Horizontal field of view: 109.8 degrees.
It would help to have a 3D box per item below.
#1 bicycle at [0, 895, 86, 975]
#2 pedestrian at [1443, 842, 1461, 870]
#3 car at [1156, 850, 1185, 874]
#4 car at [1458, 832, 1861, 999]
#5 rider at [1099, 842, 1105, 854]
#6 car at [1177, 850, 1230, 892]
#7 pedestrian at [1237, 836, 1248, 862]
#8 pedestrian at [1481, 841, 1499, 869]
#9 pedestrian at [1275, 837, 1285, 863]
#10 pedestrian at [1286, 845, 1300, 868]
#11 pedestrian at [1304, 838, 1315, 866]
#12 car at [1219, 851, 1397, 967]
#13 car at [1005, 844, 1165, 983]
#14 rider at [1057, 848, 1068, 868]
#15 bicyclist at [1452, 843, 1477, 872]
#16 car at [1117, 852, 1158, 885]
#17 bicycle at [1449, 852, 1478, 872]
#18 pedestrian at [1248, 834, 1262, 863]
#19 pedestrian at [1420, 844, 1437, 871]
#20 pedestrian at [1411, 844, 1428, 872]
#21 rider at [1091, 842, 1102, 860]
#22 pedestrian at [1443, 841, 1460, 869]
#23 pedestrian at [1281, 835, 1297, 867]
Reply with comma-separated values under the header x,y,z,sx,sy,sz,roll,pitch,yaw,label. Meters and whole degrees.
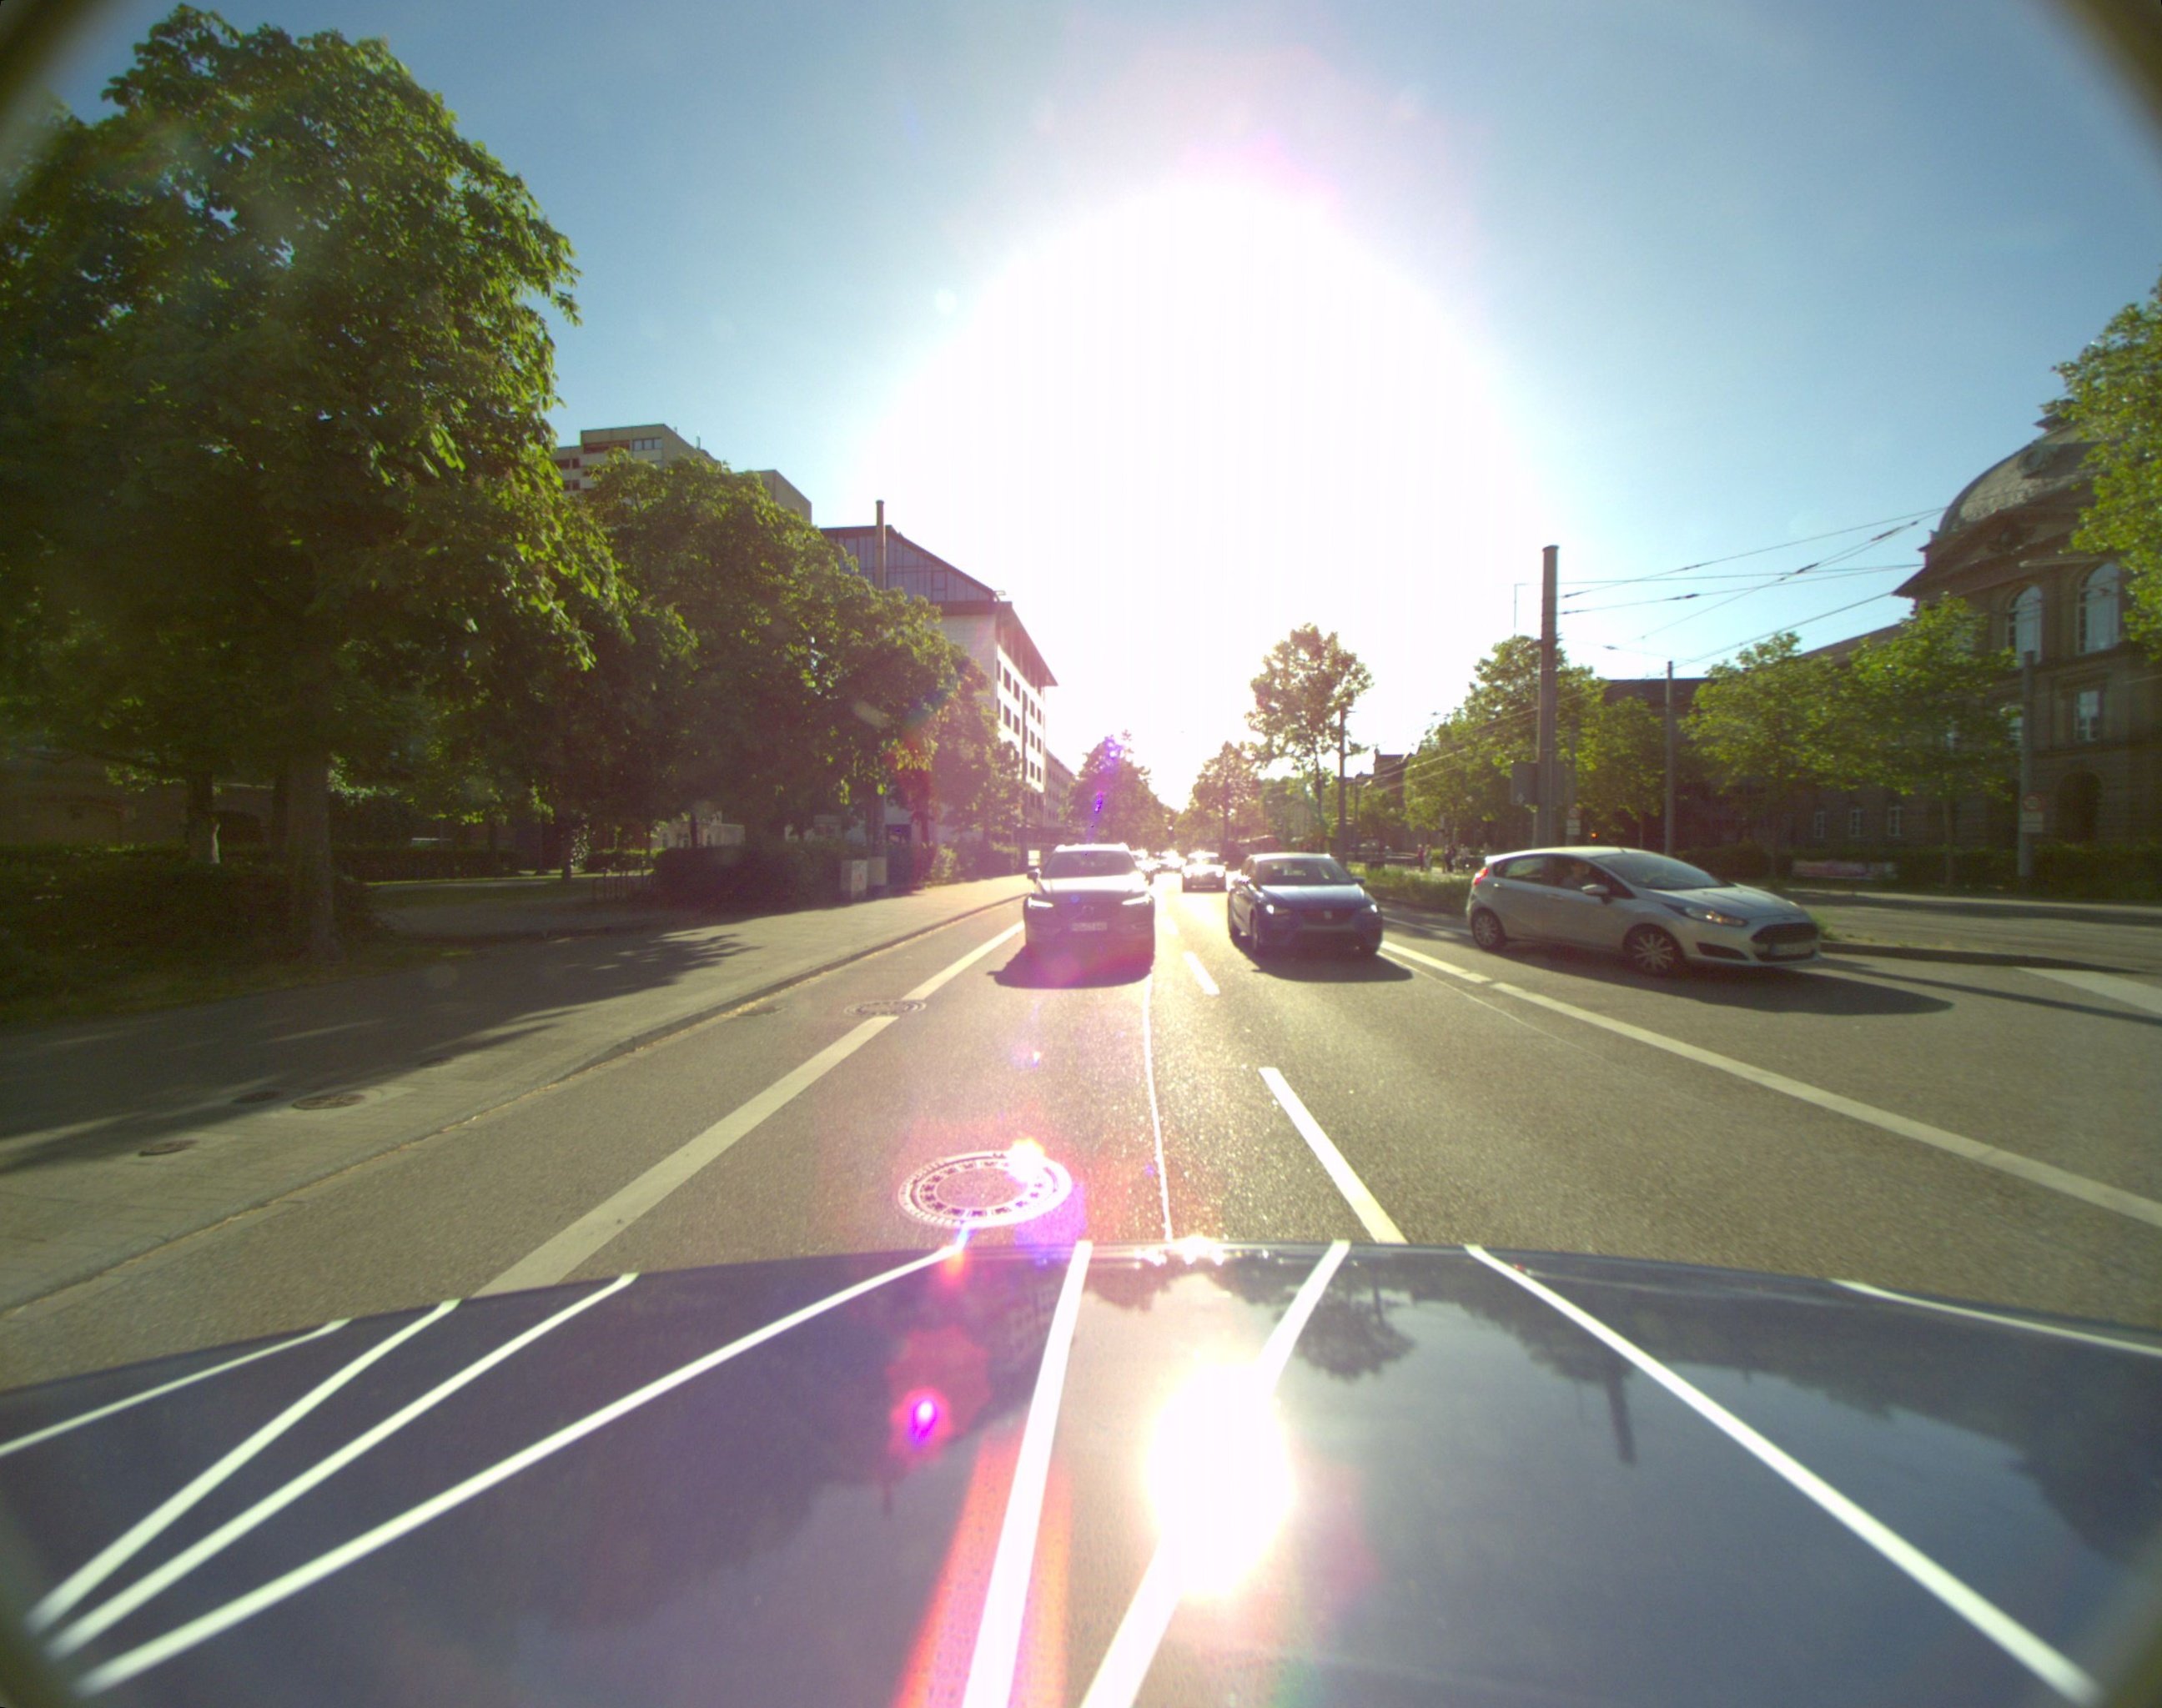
x,y,z,sx,sy,sz,roll,pitch,yaw,label
-12.463,0.936,8.477,1.679,0.857,0.320,-2,1,-23,bicycle
22.259,0.095,45.587,0.595,1.634,0.698,-3,2,-30,pedestrian
6.657,0.570,56.091,1.774,1.567,3.825,-2,1,11,car
6.796,0.590,9.516,1.668,1.586,3.859,-2,1,-11,car
2.932,-0.873,106.246,0.758,1.717,0.895,-2,1,4,rider
4.800,0.633,30.305,1.798,1.420,4.001,-2,1,6,car
12.997,-0.398,61.099,0.710,2.002,0.787,-2,1,7,pedestrian
23.900,0.063,44.373,0.595,1.612,0.698,-3,2,-27,pedestrian
13.135,-0.254,50.225,0.580,1.652,0.667,-2,2,14,pedestrian
11.658,0.117,41.709,0.594,1.226,0.425,-2,1,-4,pedestrian
14.154,-0.125,47.073,0.544,1.652,0.730,-2,1,10,pedestrian
3.332,0.721,11.924,1.777,1.440,3.869,-2,1,3,car
0.257,0.702,11.950,1.948,1.691,5.307,0,1,5,car
-1.521,0.334,62.350,0.778,1.582,0.790,1,2,2,rider
21.848,0.188,43.265,0.970,1.634,0.833,-3,2,-27,bicyclist
2.651,0.631,35.027,1.603,1.387,4.002,1,1,7,car
21.822,0.470,43.315,1.665,1.036,0.543,-3,2,-25,bicycle
13.490,-0.437,58.880,0.785,2.175,0.801,-2,2,26,pedestrian
21.592,0.218,47.178,0.595,1.667,0.698,-3,2,-27,pedestrian
21.631,0.236,48.540,0.595,1.735,0.698,-3,2,-27,pedestrian
1.502,-0.264,72.114,0.924,1.668,0.977,-2,1,7,rider
22.824,0.066,46.778,0.595,1.726,0.698,-3,2,-27,pedestrian
11.578,-0.171,42.275,0.646,1.797,0.504,-2,1,-4,pedestrian
